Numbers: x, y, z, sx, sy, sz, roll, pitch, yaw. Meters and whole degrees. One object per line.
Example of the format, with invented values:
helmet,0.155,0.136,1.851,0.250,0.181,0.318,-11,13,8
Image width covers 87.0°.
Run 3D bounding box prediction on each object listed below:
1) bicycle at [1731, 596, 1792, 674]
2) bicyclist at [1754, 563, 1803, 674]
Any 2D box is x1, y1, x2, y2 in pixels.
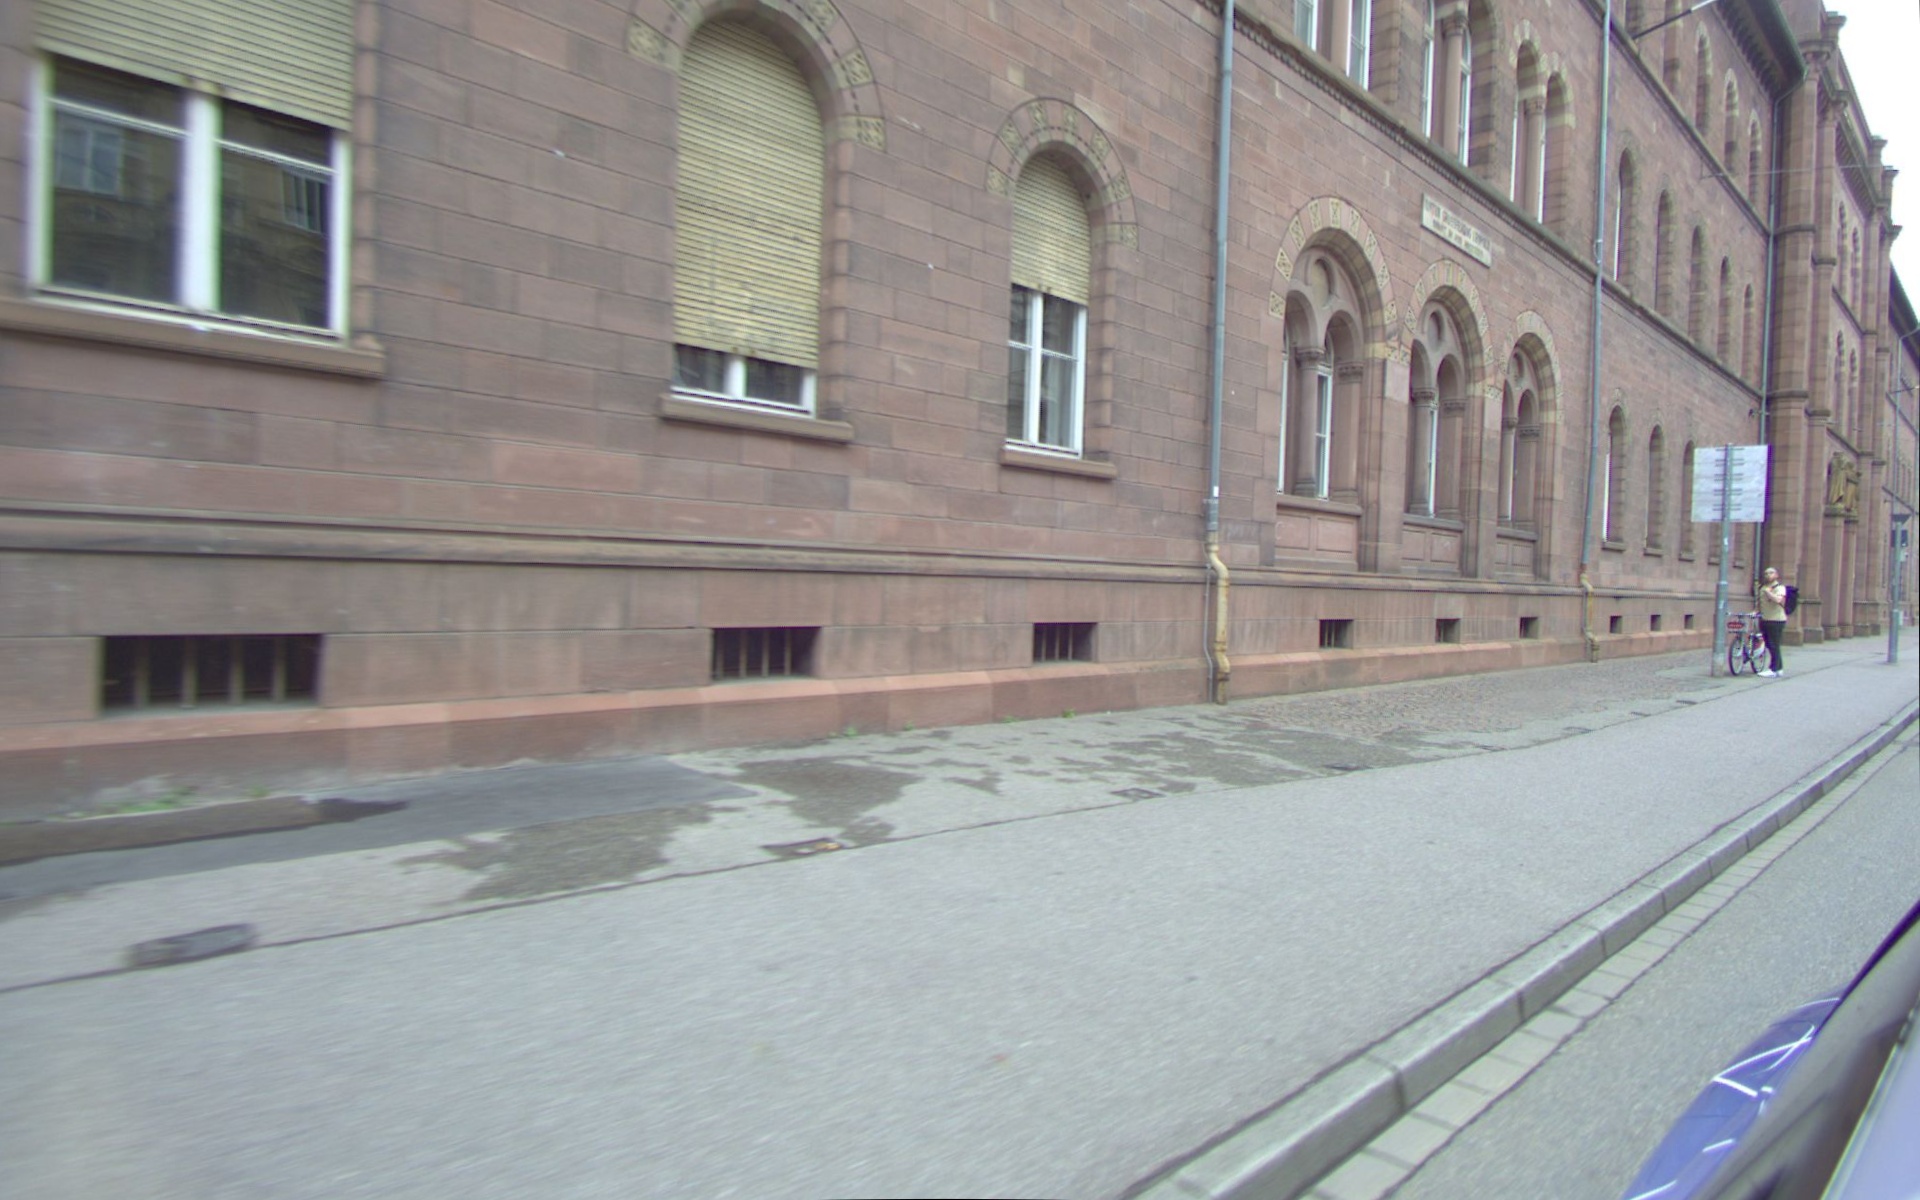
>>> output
bicycle,14.216,0.583,17.929,2.189,1.291,0.446,0,4,-43
bicyclist,14.320,0.314,17.707,0.443,1.881,0.529,0,2,-42
